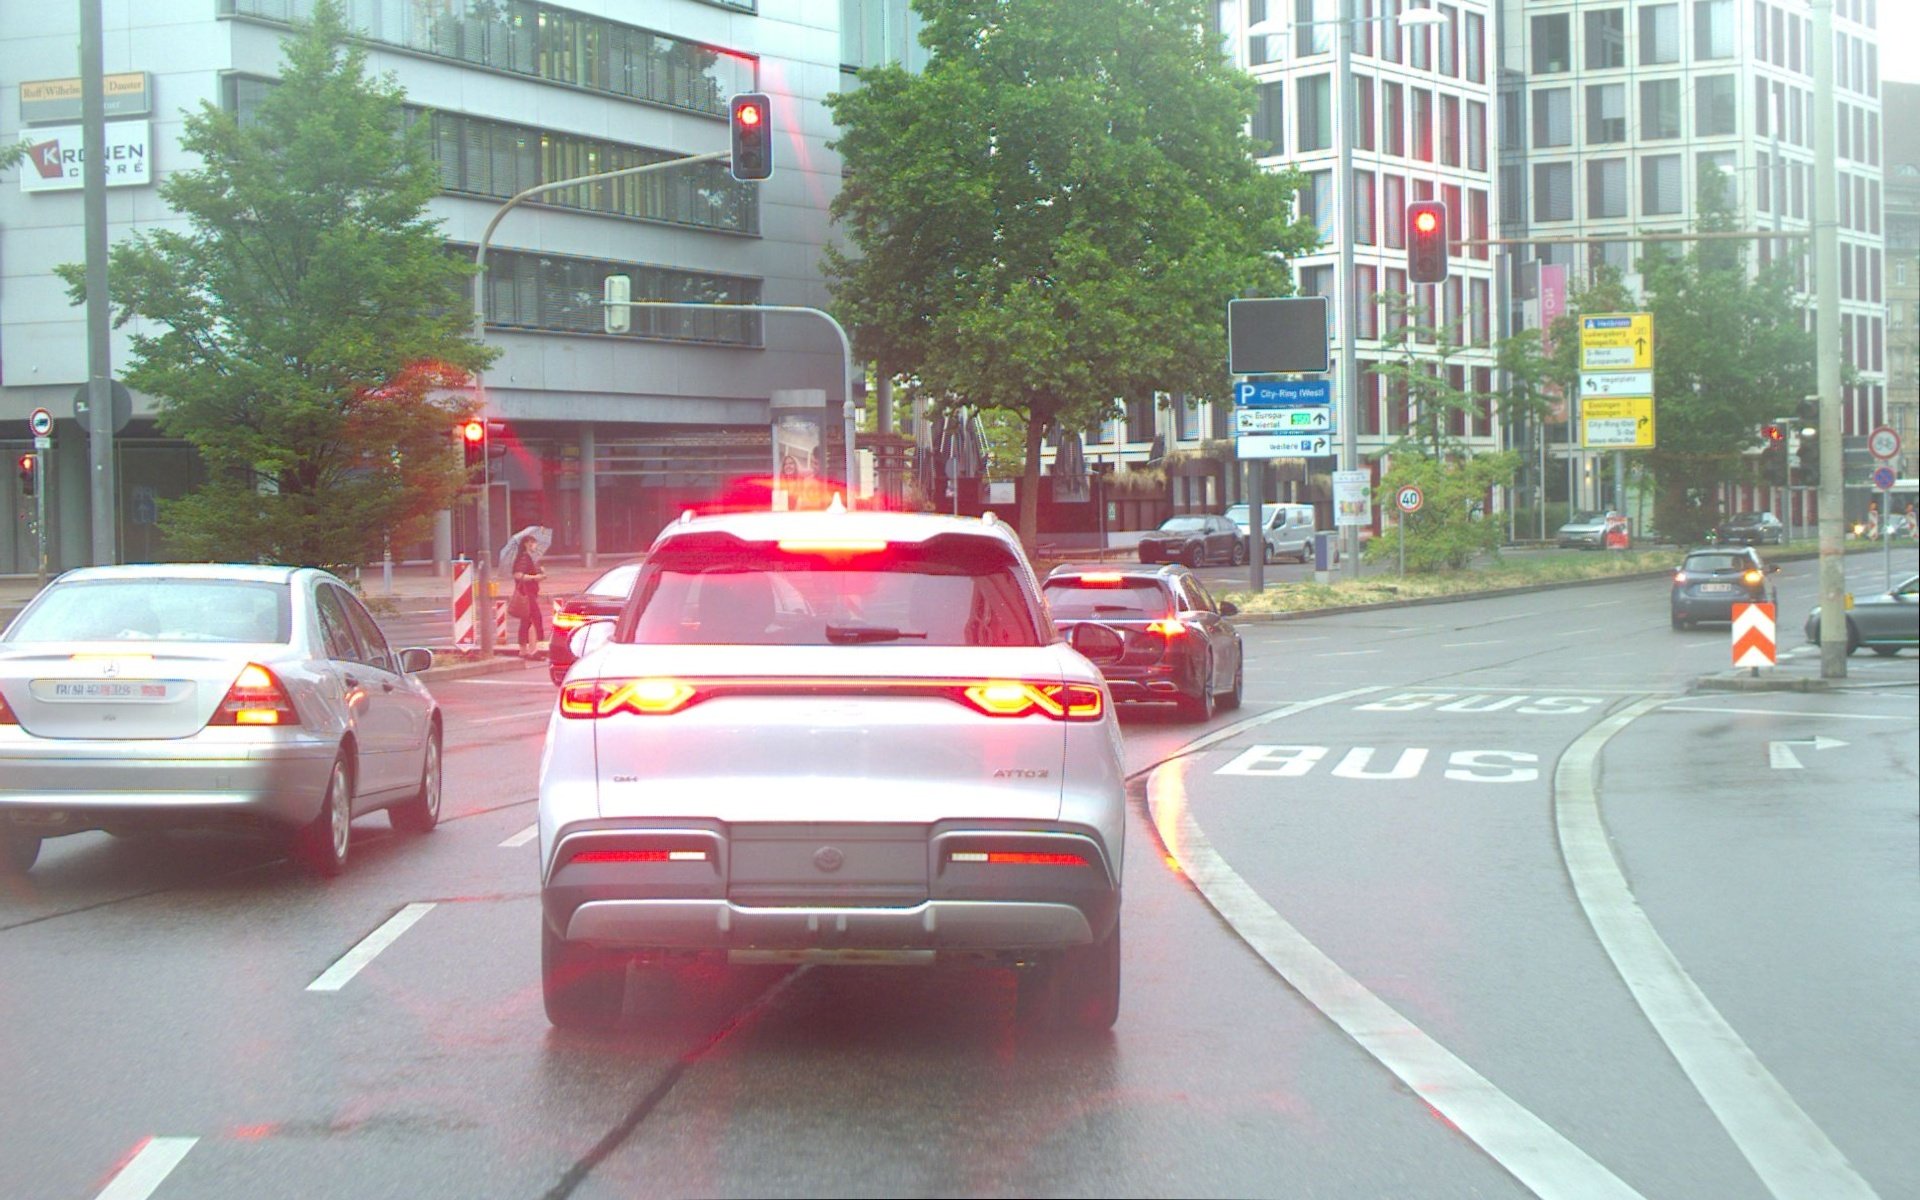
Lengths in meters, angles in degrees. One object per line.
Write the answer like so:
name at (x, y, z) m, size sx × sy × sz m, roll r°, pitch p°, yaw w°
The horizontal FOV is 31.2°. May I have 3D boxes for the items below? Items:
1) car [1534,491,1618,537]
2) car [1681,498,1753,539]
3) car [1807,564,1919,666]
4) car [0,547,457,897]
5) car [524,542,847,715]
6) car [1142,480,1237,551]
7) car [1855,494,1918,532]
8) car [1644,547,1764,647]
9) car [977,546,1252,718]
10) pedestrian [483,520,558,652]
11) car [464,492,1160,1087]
car at (24.383, -3.429, 135.949) m, size 1.997 × 1.700 × 4.302 m, roll 1°, pitch 3°, yaw 29°
car at (33.995, -3.669, 154.356) m, size 1.997 × 1.700 × 4.302 m, roll 1°, pitch 3°, yaw 29°
car at (15.391, 0.255, 52.500) m, size 4.352 × 1.505 × 1.912 m, roll 2°, pitch 2°, yaw 39°
car at (-3.670, 0.492, 16.863) m, size 1.682 × 1.481 × 4.196 m, roll 0°, pitch 1°, yaw 2°
car at (-2.537, 0.214, 32.790) m, size 1.956 × 1.525 × 3.998 m, roll 1°, pitch 1°, yaw 13°
car at (7.197, -2.632, 107.495) m, size 1.739 × 2.154 × 4.489 m, roll 1°, pitch 1°, yaw 20°
car at (43.837, -4.119, 162.600) m, size 1.997 × 1.700 × 3.994 m, roll 1°, pitch 3°, yaw 29°
car at (14.130, -0.091, 65.142) m, size 2.048 × 1.759 × 4.354 m, roll 1°, pitch 2°, yaw 14°
car at (1.554, 0.256, 33.130) m, size 1.956 × 1.525 × 3.998 m, roll 1°, pitch 1°, yaw 13°
pedestrian at (-5.792, -0.192, 45.308) m, size 0.922 × 1.732 × 0.730 m, roll 0°, pitch 1°, yaw -3°
car at (-0.487, 0.495, 12.112) m, size 1.993 × 1.703 × 4.483 m, roll 0°, pitch 1°, yaw -2°
